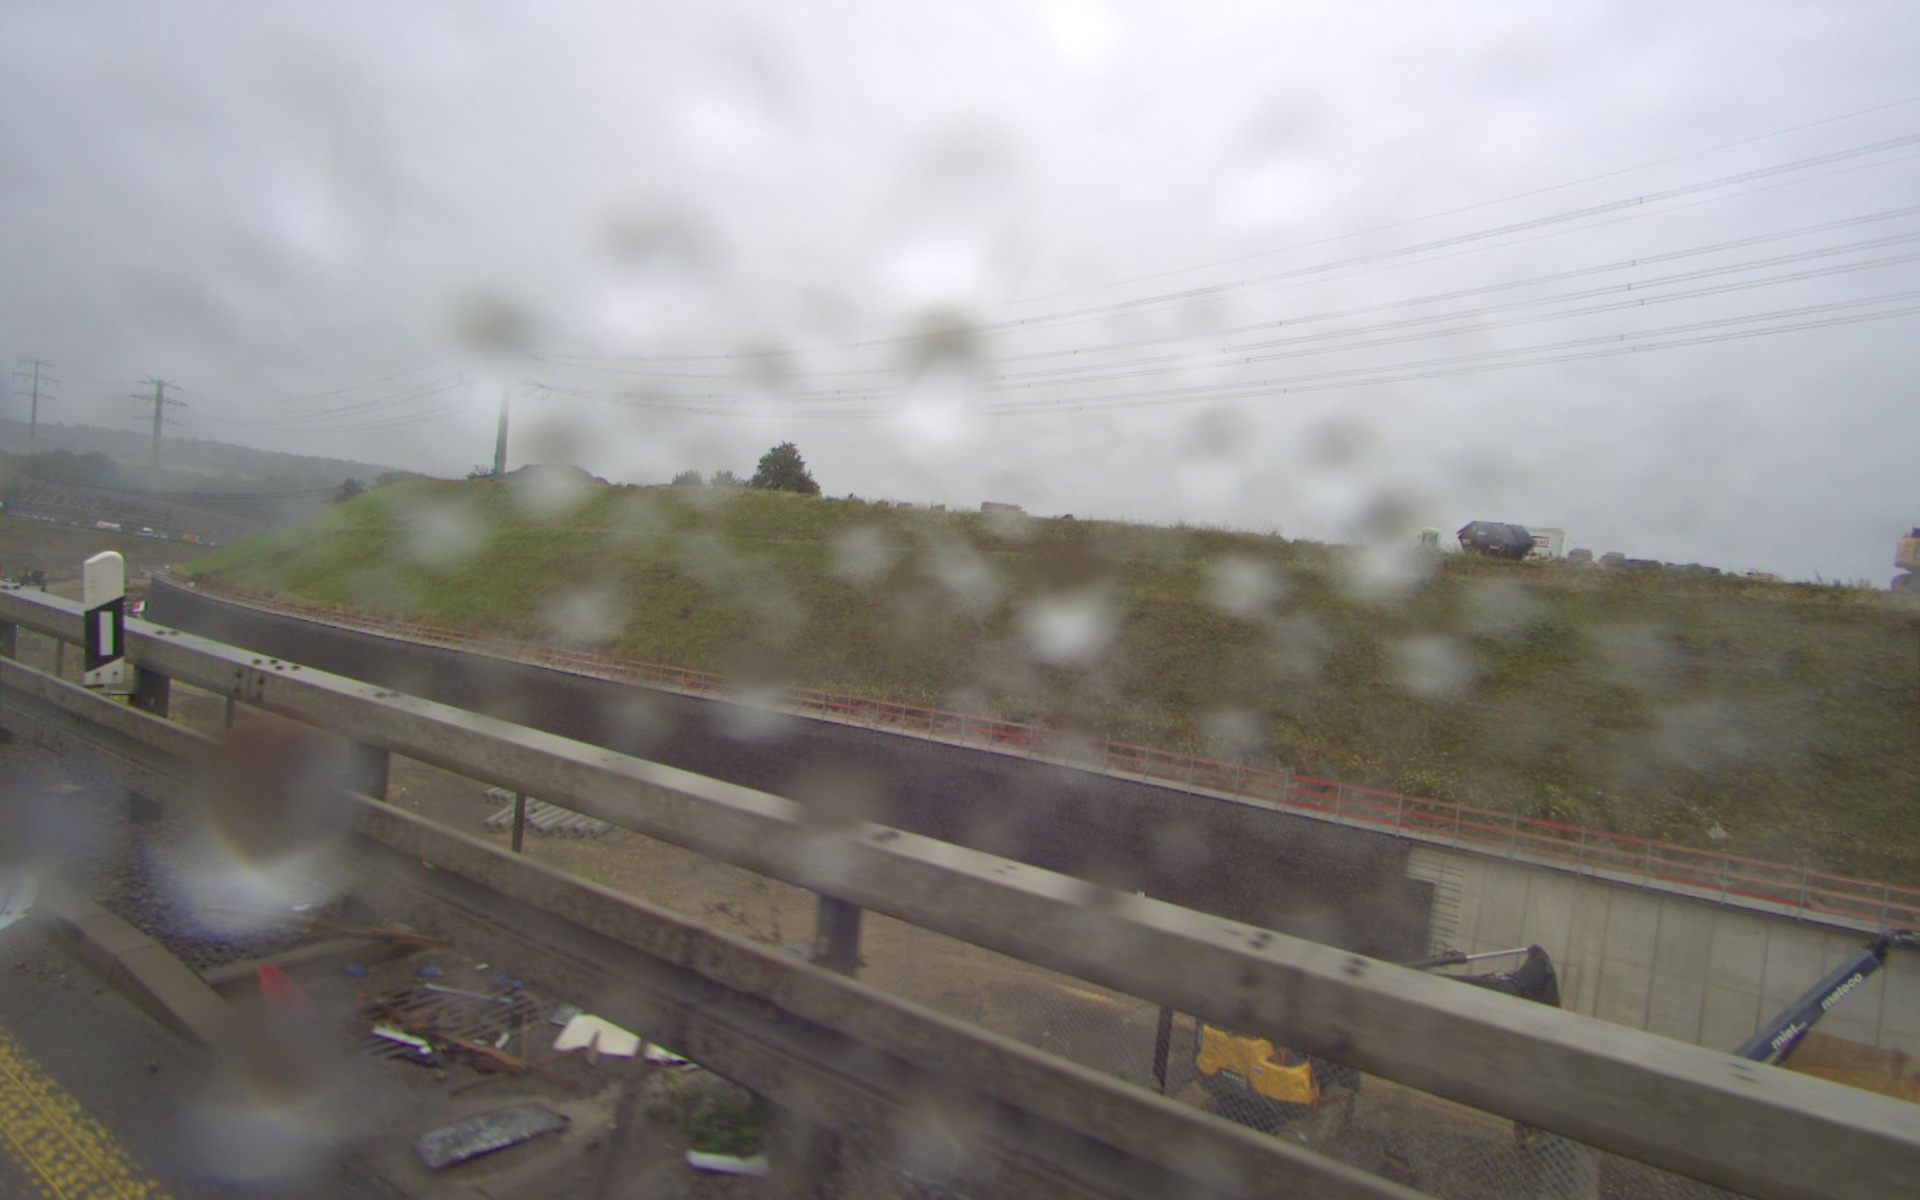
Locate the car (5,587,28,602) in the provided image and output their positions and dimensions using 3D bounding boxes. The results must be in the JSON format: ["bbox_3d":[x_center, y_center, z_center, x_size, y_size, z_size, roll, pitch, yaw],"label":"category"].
[{"bbox_3d":[-139.179,-0.812,148.357,3.944,1.837,1.992,6,-2,41],"label":"car"}]

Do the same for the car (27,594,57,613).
[{"bbox_3d":[-126.167,0.423,138.263,3.941,2.037,2.365,6,-2,39],"label":"car"}]

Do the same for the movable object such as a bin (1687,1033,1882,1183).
[{"bbox_3d":[20.843,12.818,25.654,3.200,1.932,2.525,6,-3,27],"label":"movable object such as a bin"}]

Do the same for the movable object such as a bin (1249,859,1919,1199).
[{"bbox_3d":[12.915,9.692,21.089,11.897,5.731,4.904,4,-4,33],"label":"movable object such as a bin"}]

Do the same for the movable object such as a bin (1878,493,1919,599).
[{"bbox_3d":[44.863,-1.997,42.599,8.046,4.259,3.101,7,1,34],"label":"movable object such as a bin"}]
